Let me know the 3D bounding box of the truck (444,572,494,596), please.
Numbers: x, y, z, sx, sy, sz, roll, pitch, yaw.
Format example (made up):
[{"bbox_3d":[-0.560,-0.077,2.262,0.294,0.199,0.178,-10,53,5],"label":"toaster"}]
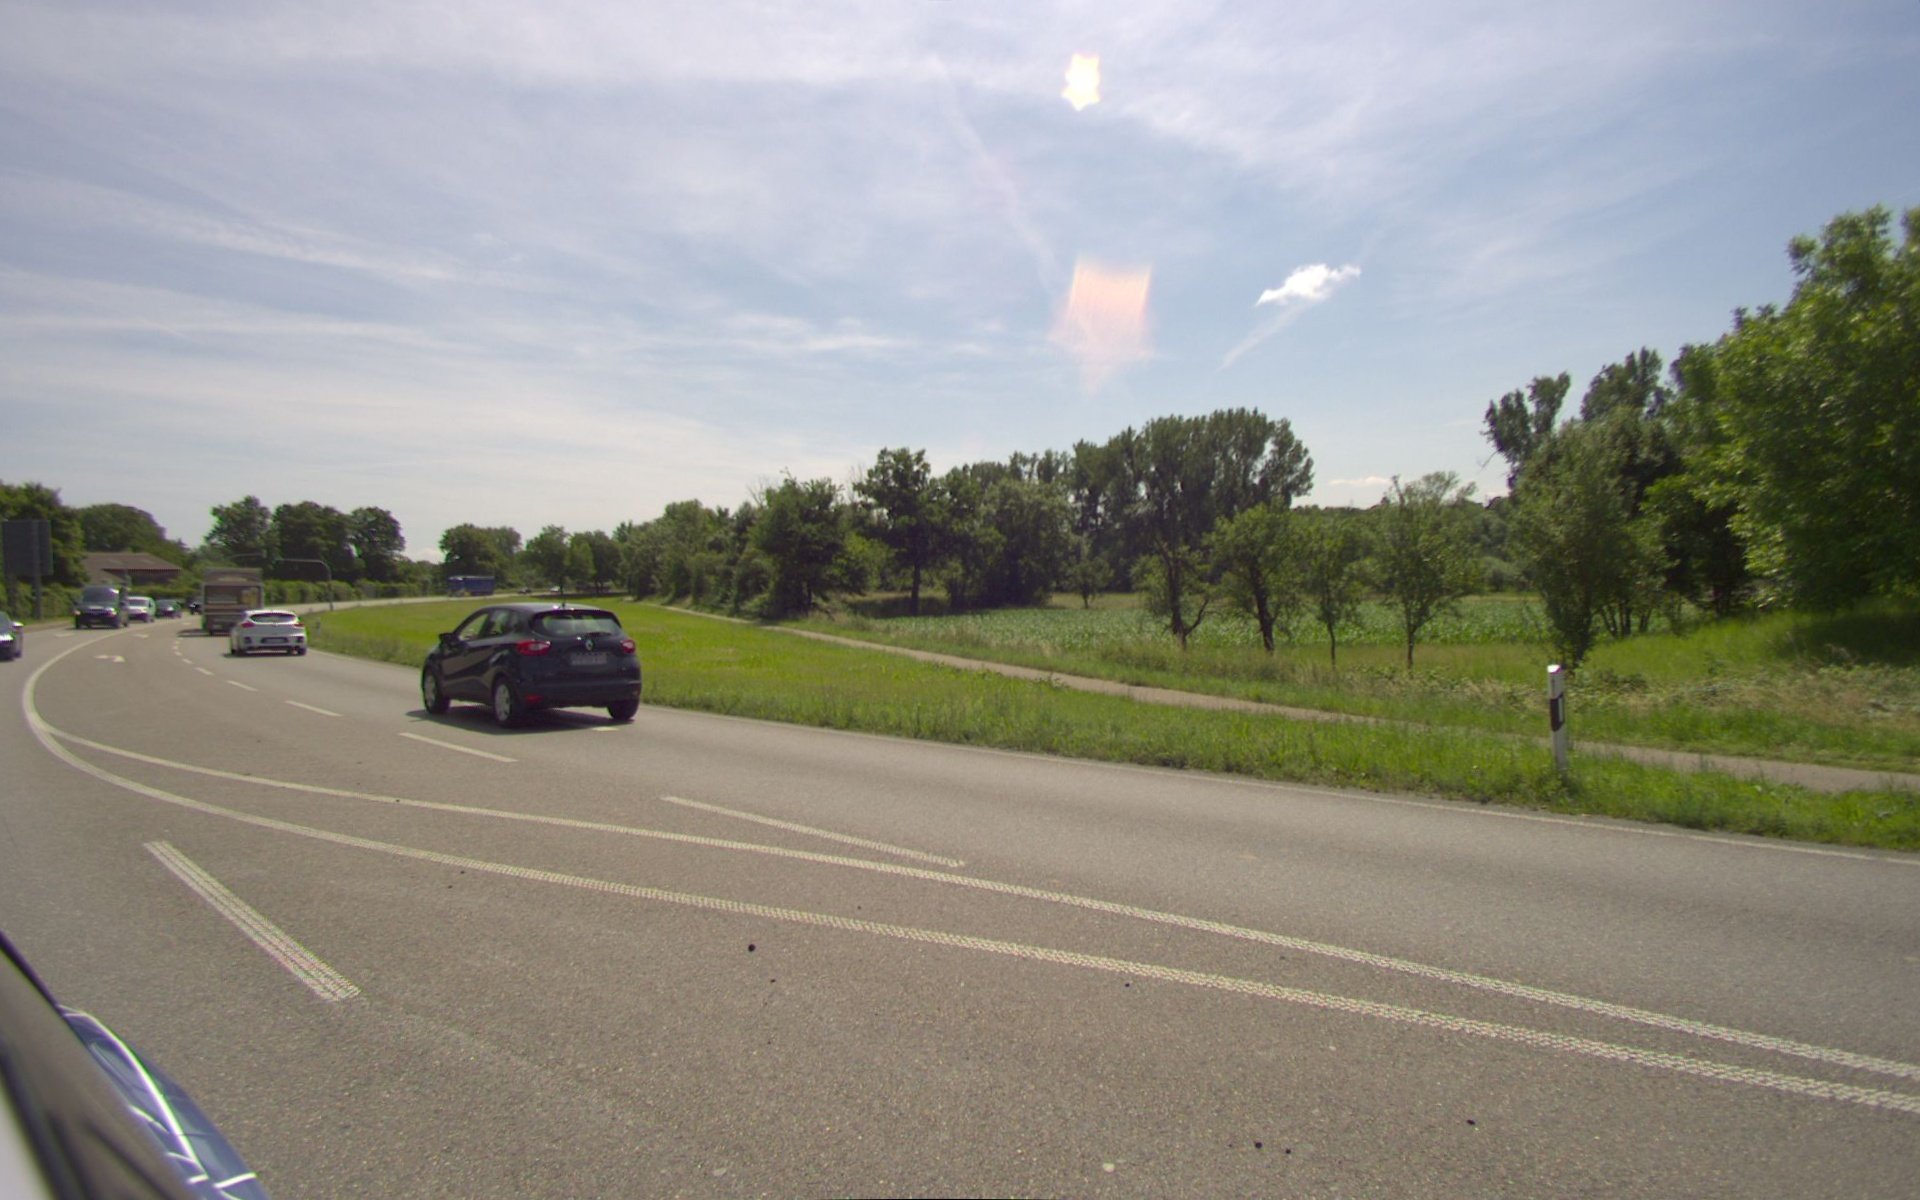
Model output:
[{"bbox_3d":[-99.271,-3.153,205.032,2.706,4.643,16.168,0,0,-2],"label":"truck"}]

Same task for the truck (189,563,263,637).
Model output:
[{"bbox_3d":[-38.052,-0.012,52.560,2.929,3.597,6.915,0,0,-36],"label":"truck"}]

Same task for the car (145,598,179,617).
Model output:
[{"bbox_3d":[-65.419,0.581,83.024,1.754,1.504,4.169,0,0,-32],"label":"car"}]

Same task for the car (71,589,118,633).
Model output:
[{"bbox_3d":[-50.884,0.622,59.560,1.950,2.538,4.166,0,0,-38],"label":"car"}]

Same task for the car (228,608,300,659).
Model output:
[{"bbox_3d":[-22.238,1.017,32.298,1.595,1.473,4.007,0,0,-39],"label":"car"}]

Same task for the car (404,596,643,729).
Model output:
[{"bbox_3d":[-6.080,0.748,13.871,4.001,1.570,1.598,0,-1,44],"label":"car"}]

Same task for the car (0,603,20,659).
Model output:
[{"bbox_3d":[-27.861,0.893,28.518,1.756,1.504,4.165,-1,0,-40],"label":"car"}]

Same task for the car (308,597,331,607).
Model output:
[{"bbox_3d":[-92.509,0.278,146.146,1.754,1.504,4.170,-1,0,-17],"label":"car"}]

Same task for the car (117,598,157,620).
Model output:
[{"bbox_3d":[-58.274,0.604,71.702,1.754,1.504,4.169,0,0,-32],"label":"car"}]

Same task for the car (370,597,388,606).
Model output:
[{"bbox_3d":[-98.811,0.195,172.055,1.754,1.504,4.170,0,0,-17],"label":"car"}]

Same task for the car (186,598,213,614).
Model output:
[{"bbox_3d":[-72.100,0.550,96.020,1.754,1.504,4.169,0,0,-32],"label":"car"}]
